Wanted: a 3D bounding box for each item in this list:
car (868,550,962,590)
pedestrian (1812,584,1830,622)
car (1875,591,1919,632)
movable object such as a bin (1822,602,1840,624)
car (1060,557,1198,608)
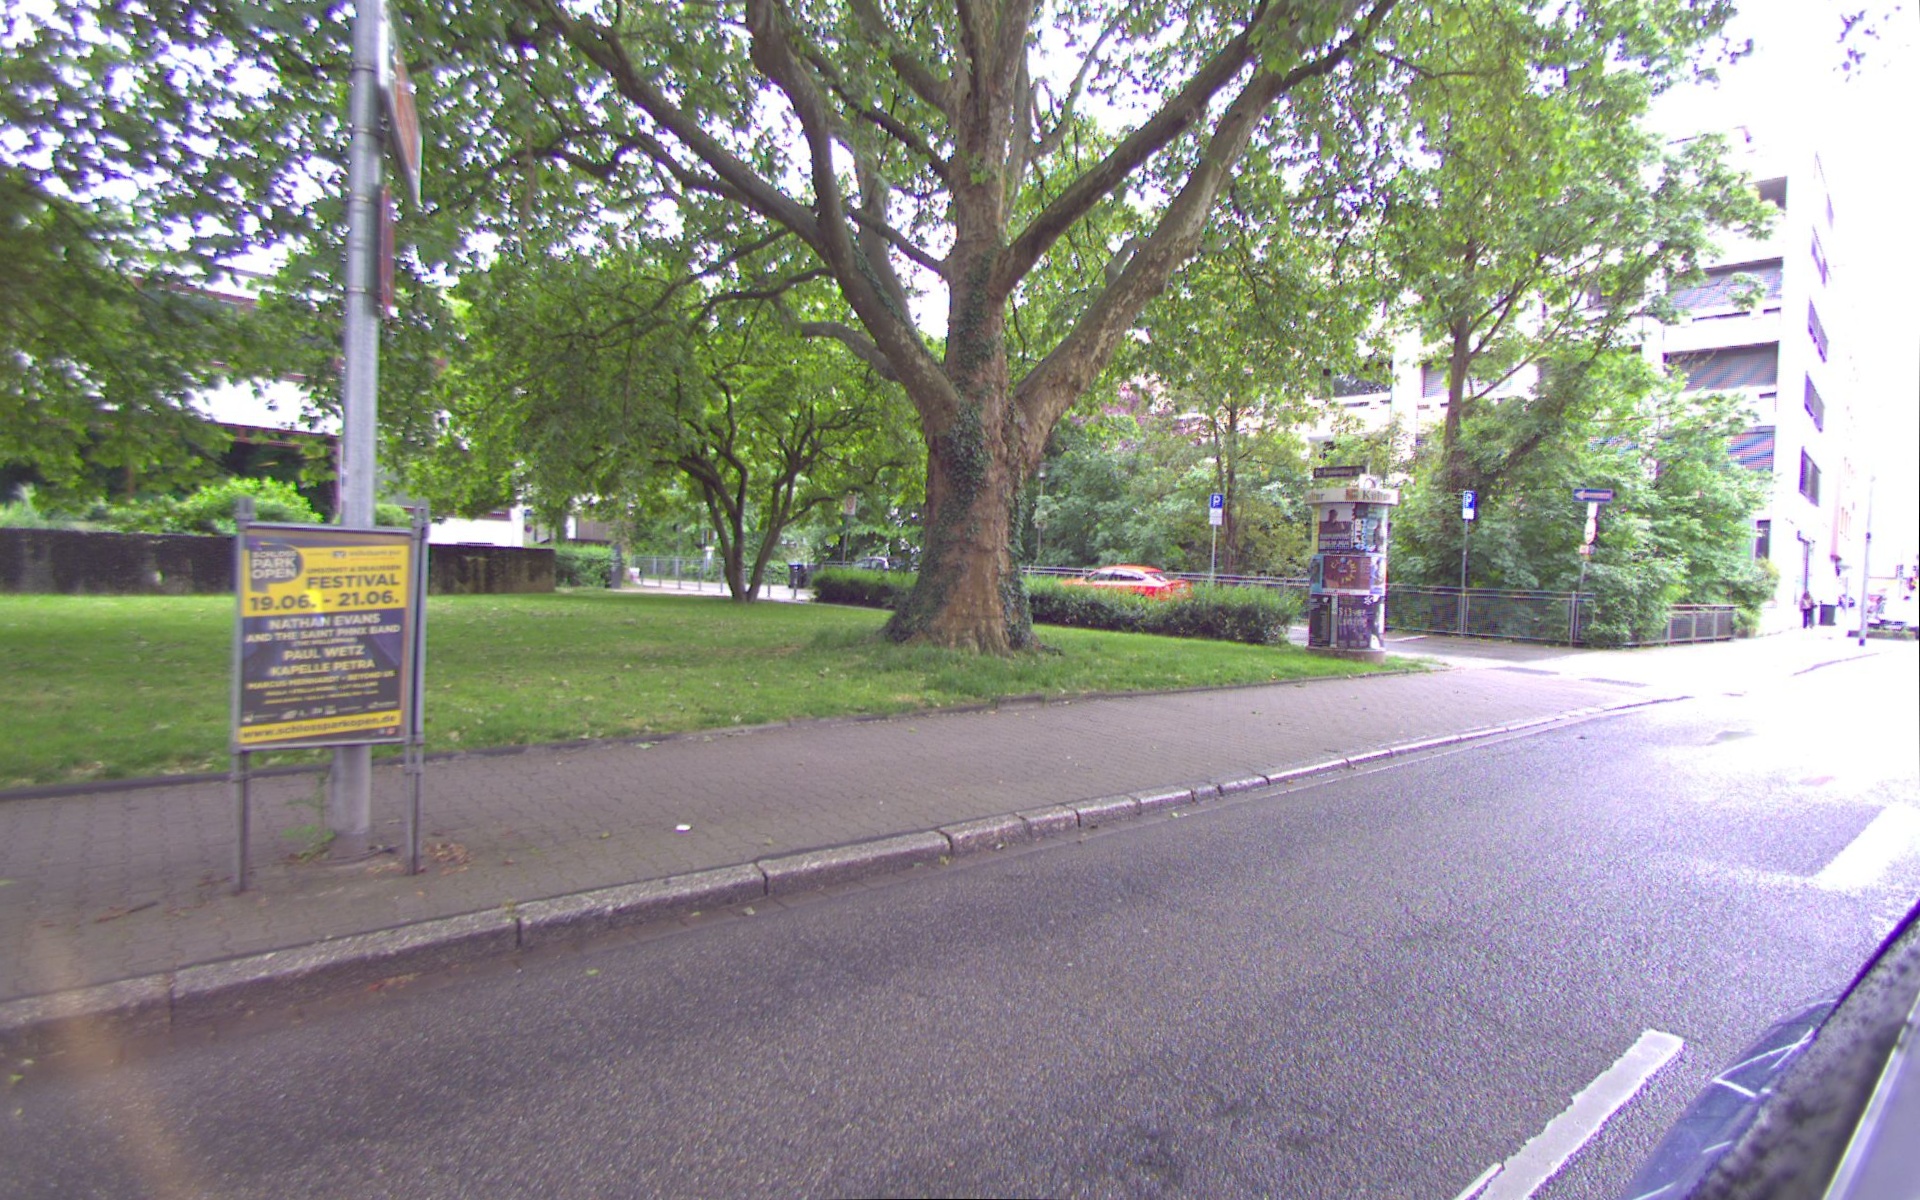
[{"bbox_3d":[-1.661,-1.105,36.741,3.460,1.294,1.426,5,4,45],"label":"car"},{"bbox_3d":[35.695,0.120,41.960,0.473,1.549,0.480,0,0,-41],"label":"pedestrian"},{"bbox_3d":[37.416,0.455,39.744,3.617,1.449,1.681,0,5,-41],"label":"car"},{"bbox_3d":[41.923,0.620,48.717,0.287,1.054,0.556,0,3,-41],"label":"movable object such as a bin"},{"bbox_3d":[4.884,-0.538,29.532,1.551,1.294,3.784,-1,4,-44],"label":"car"}]
